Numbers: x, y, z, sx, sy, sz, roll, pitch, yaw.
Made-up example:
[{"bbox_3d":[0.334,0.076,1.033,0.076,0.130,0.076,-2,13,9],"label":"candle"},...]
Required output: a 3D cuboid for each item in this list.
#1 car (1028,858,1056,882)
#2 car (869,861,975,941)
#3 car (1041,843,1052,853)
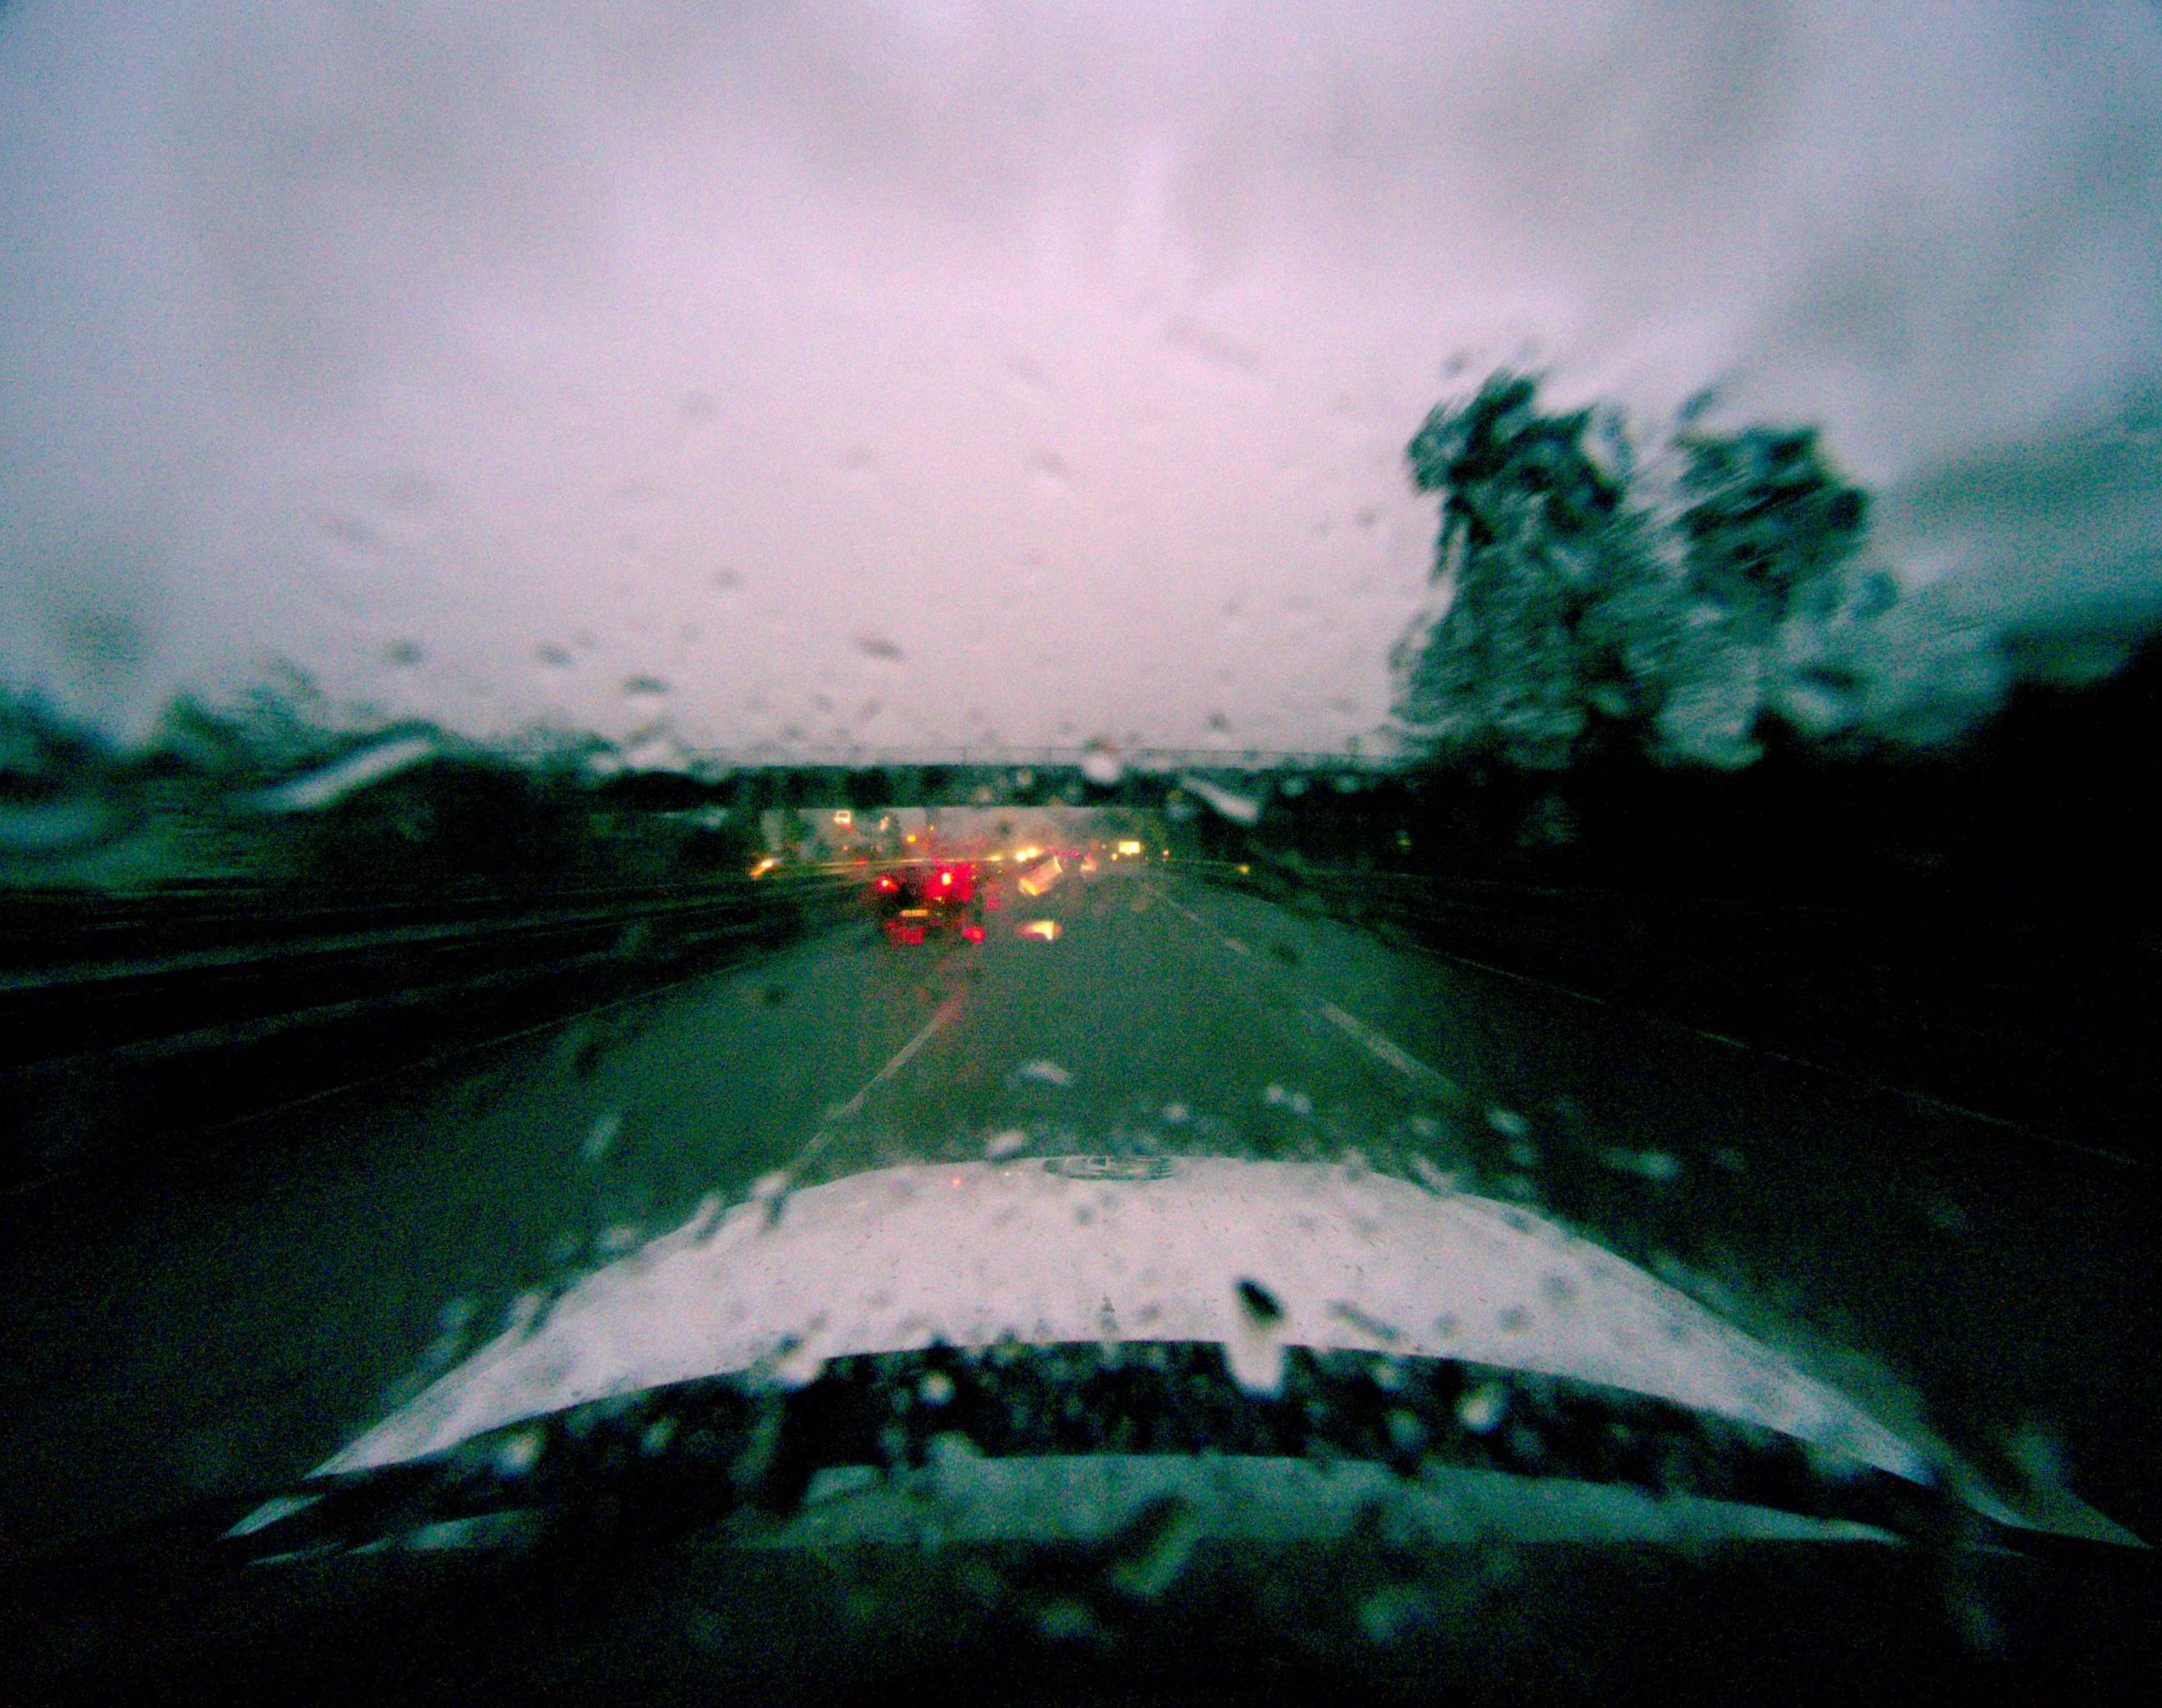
[{"bbox_3d":[-2.605,1.048,55.293,1.771,1.534,4.699,-1,0,-2],"label":"car"},{"bbox_3d":[-3.269,0.906,17.286,1.522,1.415,3.478,2,1,0],"label":"car"},{"bbox_3d":[-7.704,-1.339,182.607,2.121,2.120,3.567,1,0,-7],"label":"car"}]
